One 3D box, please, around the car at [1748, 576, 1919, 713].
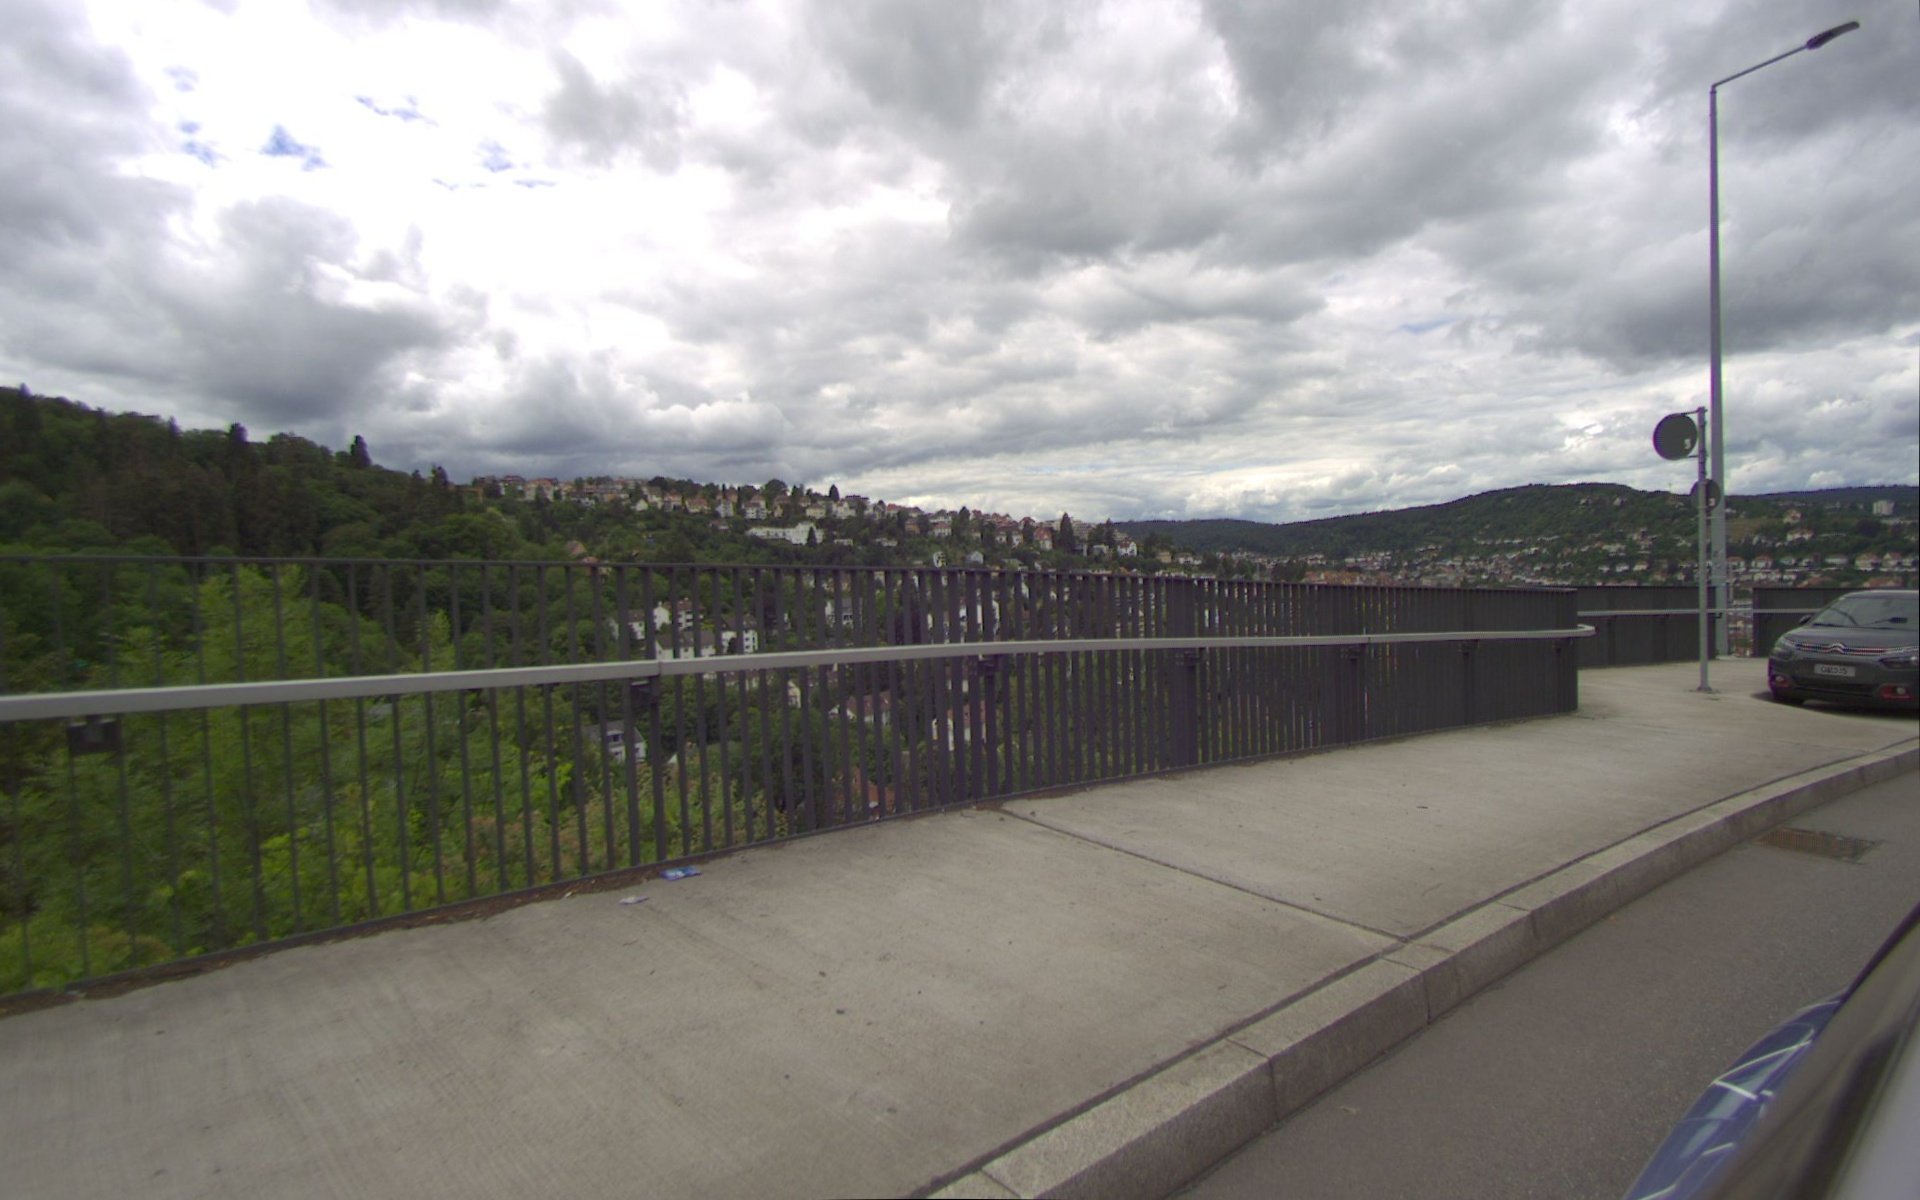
[{"bbox_3d":[12.466,0.489,13.265,4.006,1.562,1.884,0,2,-28],"label":"car"}]
